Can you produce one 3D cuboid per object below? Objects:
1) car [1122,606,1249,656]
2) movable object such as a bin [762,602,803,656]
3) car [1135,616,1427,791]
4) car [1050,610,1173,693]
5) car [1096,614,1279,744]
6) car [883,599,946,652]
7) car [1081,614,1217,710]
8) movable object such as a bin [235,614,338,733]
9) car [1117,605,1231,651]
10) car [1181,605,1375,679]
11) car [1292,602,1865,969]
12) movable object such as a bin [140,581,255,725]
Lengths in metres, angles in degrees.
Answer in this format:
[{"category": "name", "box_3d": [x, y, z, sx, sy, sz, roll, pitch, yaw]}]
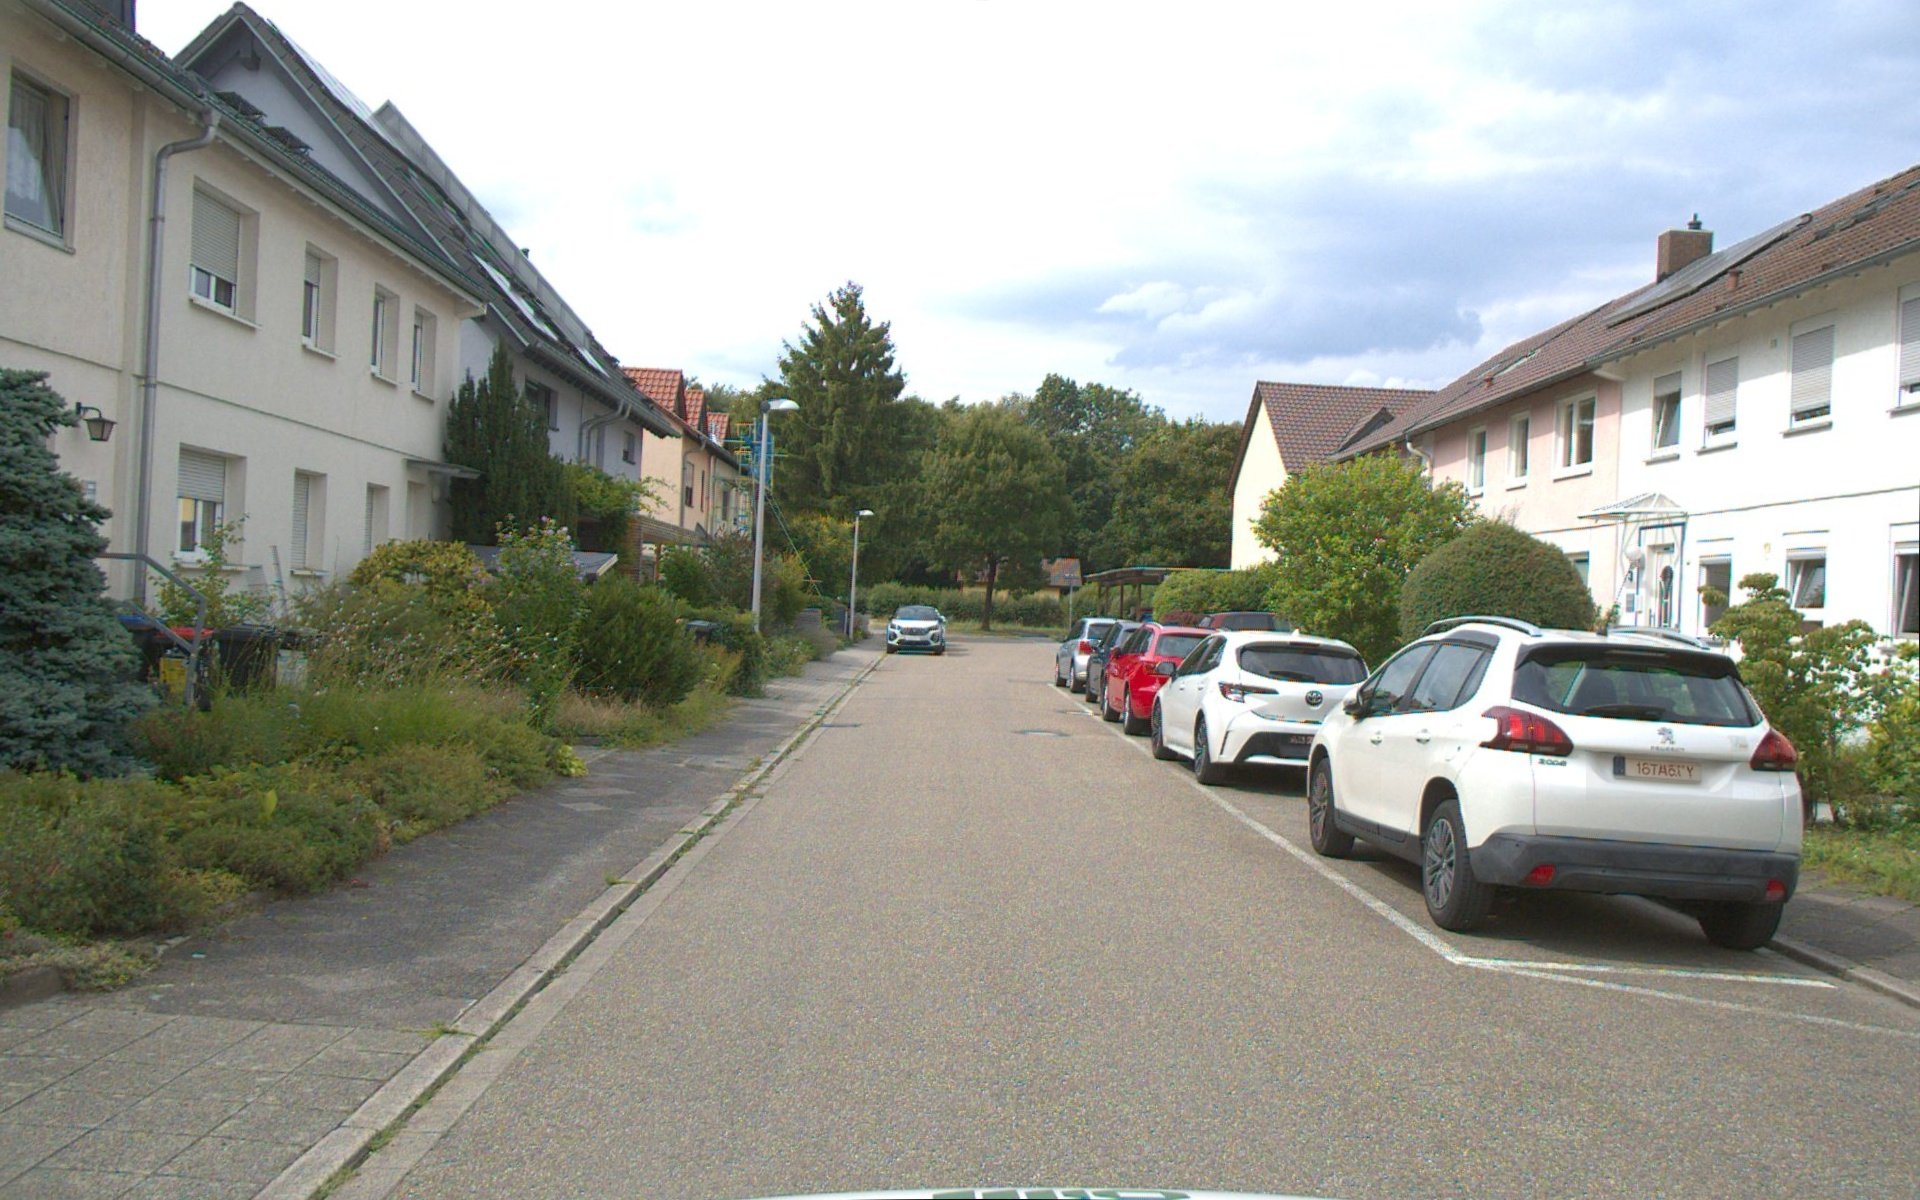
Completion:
[{"category": "car", "box_3d": [7.685, 1.038, 56.514, 3.966, 1.549, 1.949, 2, 0, -4]}, {"category": "movable object such as a bin", "box_3d": [-4.522, 0.731, 42.160, 0.930, 1.335, 1.000, 1, 0, -2]}, {"category": "car", "box_3d": [3.071, 0.933, 16.837, 1.801, 1.437, 4.634, 2, 0, -3]}, {"category": "car", "box_3d": [2.964, 0.982, 33.183, 1.827, 1.441, 4.250, 3, 0, -3]}, {"category": "car", "box_3d": [3.015, 0.992, 22.851, 1.738, 1.461, 4.825, 4, 0, 0]}, {"category": "car", "box_3d": [-1.437, 0.799, 54.019, 1.894, 1.583, 4.634, 2, 0, 0]}, {"category": "car", "box_3d": [3.075, 0.976, 27.686, 1.736, 1.379, 4.265, 2, 0, 0]}, {"category": "movable object such as a bin", "box_3d": [-6.043, 0.651, 14.869, 0.661, 1.025, 0.598, 1, 0, -1]}, {"category": "car", "box_3d": [7.925, 1.033, 61.439, 3.878, 1.567, 1.838, 2, 0, -4]}, {"category": "car", "box_3d": [7.465, 0.967, 39.065, 4.183, 1.587, 1.934, 1, 0, 0]}, {"category": "car", "box_3d": [3.252, 0.859, 9.597, 1.679, 1.570, 3.972, 4, 0, -1]}, {"category": "movable object such as a bin", "box_3d": [-6.911, 0.467, 15.022, 0.682, 1.261, 0.734, 1, 0, -1]}]
